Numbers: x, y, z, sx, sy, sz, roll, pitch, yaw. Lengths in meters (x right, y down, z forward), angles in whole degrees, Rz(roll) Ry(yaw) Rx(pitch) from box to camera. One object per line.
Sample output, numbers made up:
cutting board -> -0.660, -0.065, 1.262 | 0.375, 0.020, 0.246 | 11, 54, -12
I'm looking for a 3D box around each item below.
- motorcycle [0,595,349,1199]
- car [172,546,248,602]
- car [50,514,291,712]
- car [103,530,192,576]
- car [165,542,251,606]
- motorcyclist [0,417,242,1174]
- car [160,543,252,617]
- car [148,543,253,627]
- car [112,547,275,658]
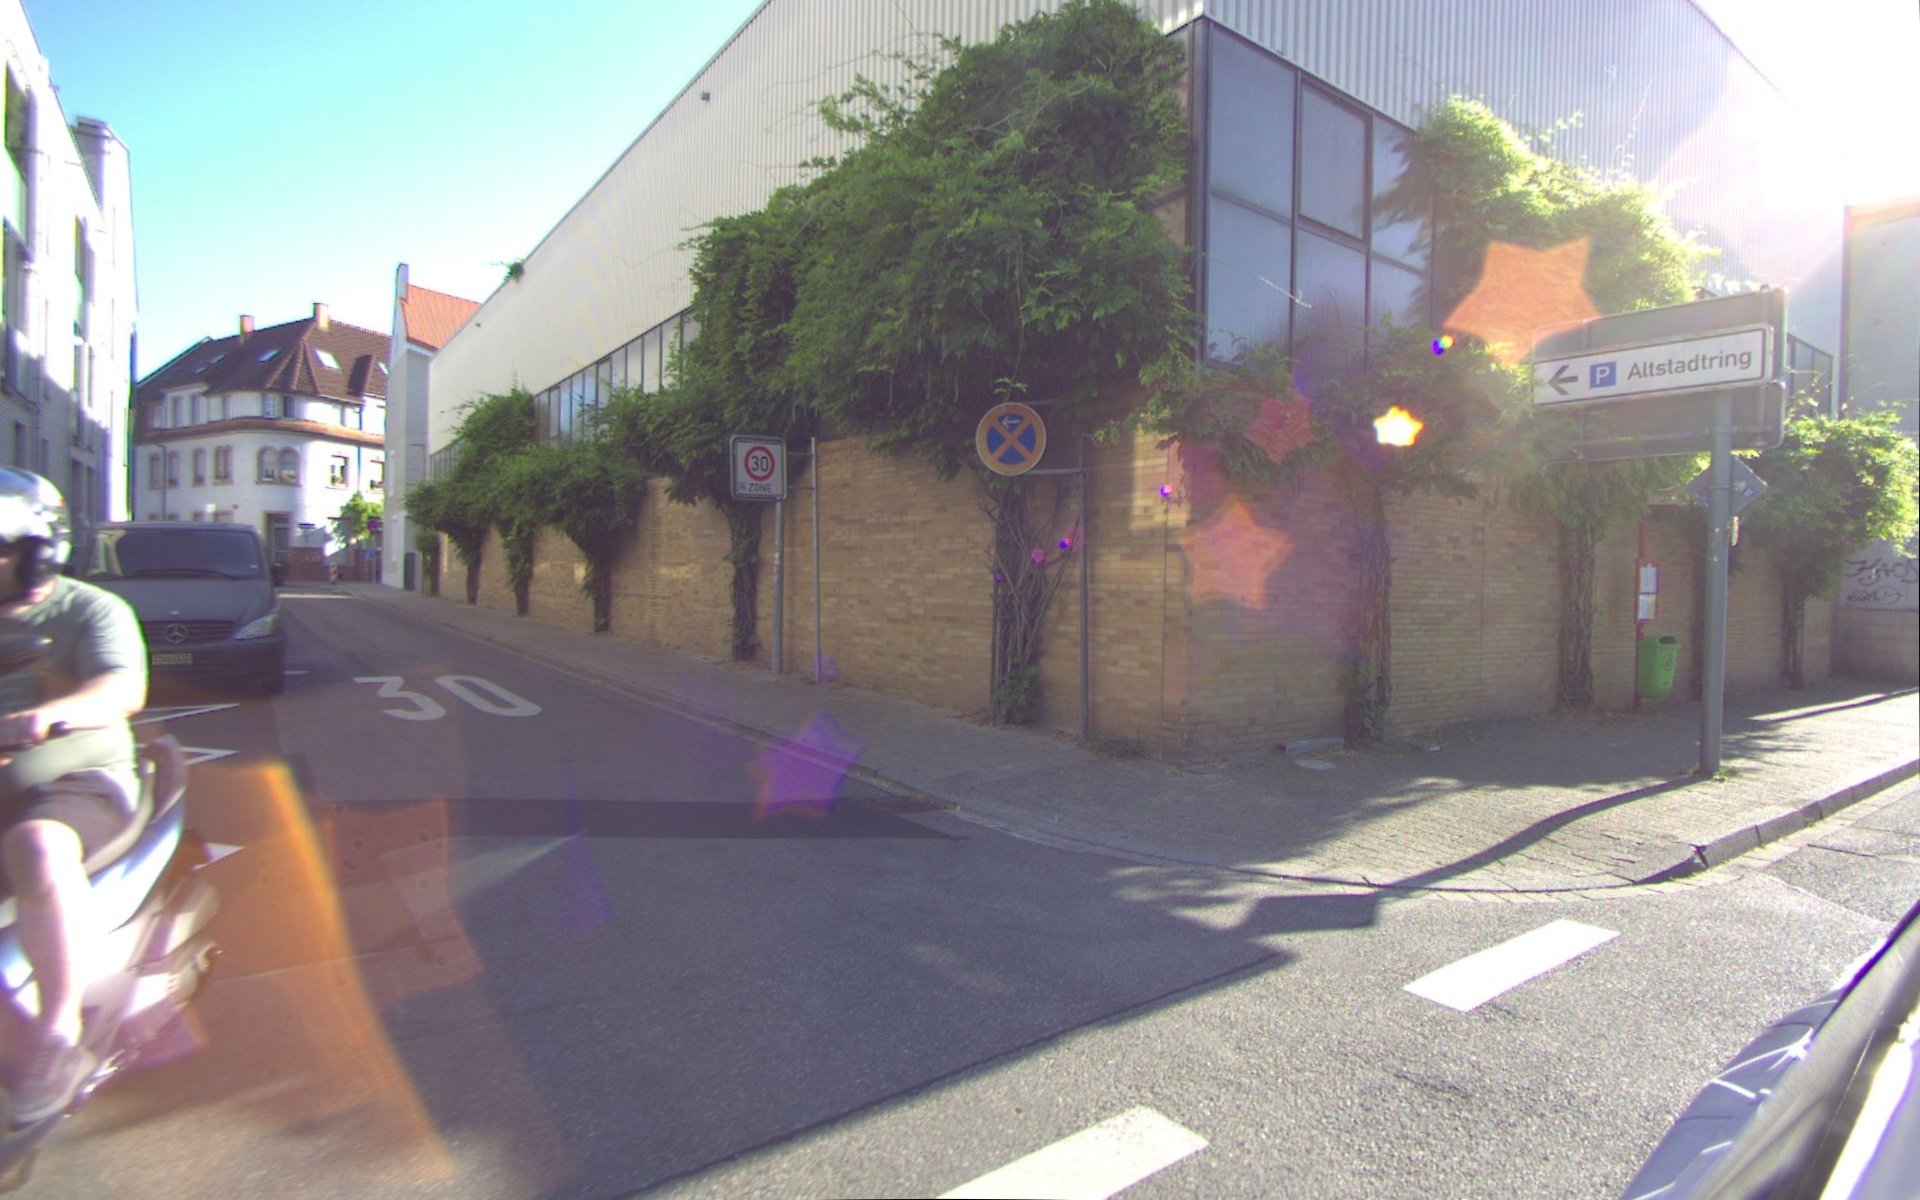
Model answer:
motorcycle -> -2.456, 0.683, 2.432 | 0.877, 1.296, 2.347 | 0, 2, -9
car -> -24.025, -0.878, 32.487 | 1.829, 1.672, 4.458 | 0, 2, -36
car -> -8.942, -0.031, 11.669 | 1.829, 1.802, 4.623 | 0, 4, -36
car -> -42.899, -2.493, 53.387 | 5.563, 2.335, 1.990 | 3, 2, 33
car -> -21.308, -0.767, 28.755 | 1.829, 1.672, 4.458 | 0, 2, -36
motorcyclist -> -2.387, 0.379, 2.346 | 0.877, 1.491, 0.880 | 0, 0, -9
car -> -17.918, -0.517, 24.120 | 1.632, 1.621, 3.671 | 0, 2, -36
car -> -15.892, -0.356, 21.246 | 1.632, 1.596, 3.630 | 0, 2, -36
car -> -11.940, -0.061, 15.889 | 1.796, 1.496, 4.401 | 0, 2, -36
